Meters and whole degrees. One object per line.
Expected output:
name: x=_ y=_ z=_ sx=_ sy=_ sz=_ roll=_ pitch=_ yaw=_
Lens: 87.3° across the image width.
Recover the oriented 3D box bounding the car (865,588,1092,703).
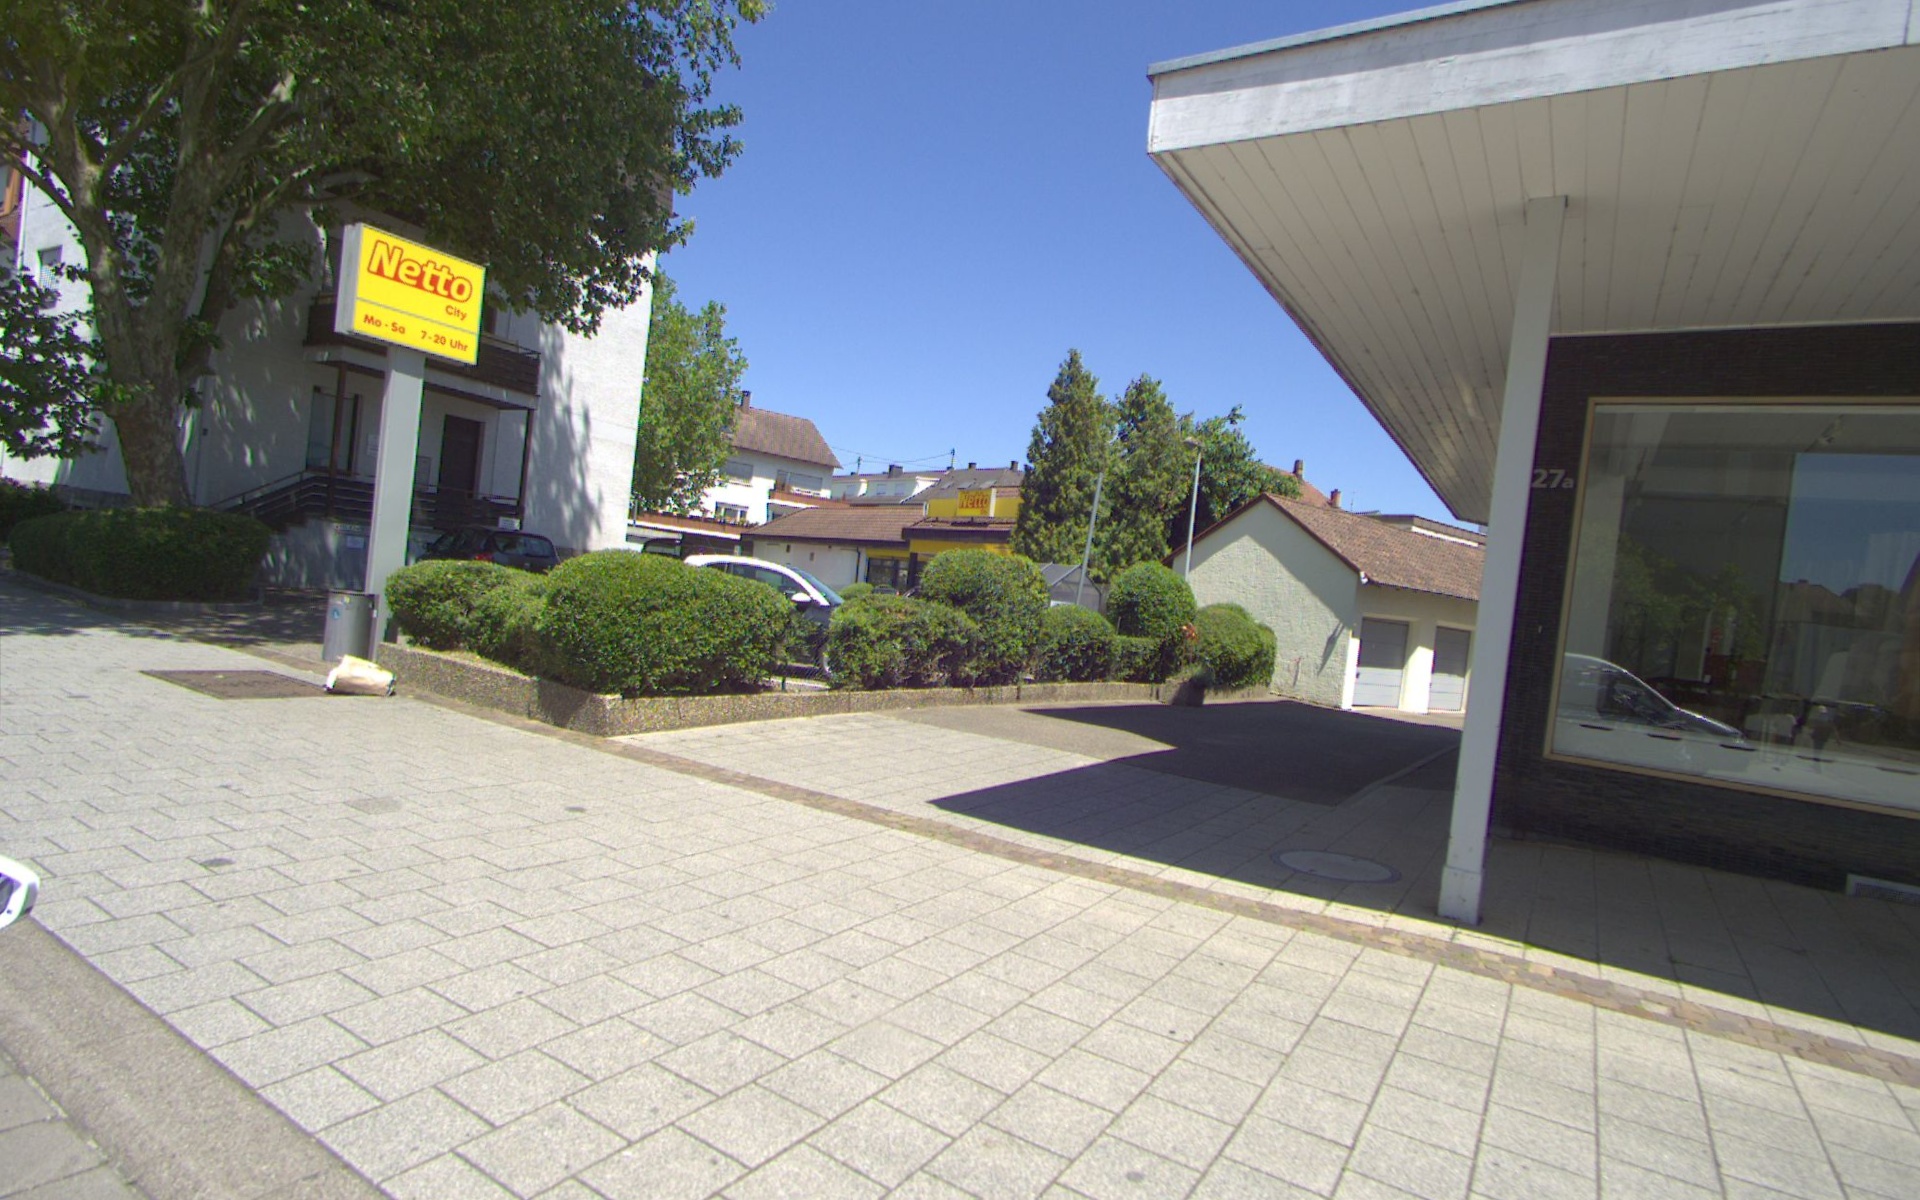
car: x=0.373 y=0.773 z=17.682 sx=3.561 sy=1.518 sz=1.739 roll=6 pitch=-1 yaw=14

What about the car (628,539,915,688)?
car: x=-2.429 y=0.173 z=13.592 sx=3.398 sy=1.518 sz=1.737 roll=6 pitch=1 yaw=1

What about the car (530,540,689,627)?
car: x=-8.032 y=-0.391 z=22.933 sx=3.706 sy=1.556 sz=1.832 roll=7 pitch=1 yaw=43

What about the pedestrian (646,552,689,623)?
pedestrian: x=-6.451 y=-0.278 z=22.210 sx=0.508 sy=1.487 sz=0.602 roll=7 pitch=2 yaw=43

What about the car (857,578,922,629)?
car: x=-2.833 y=0.173 z=41.186 sx=1.556 sy=1.800 sz=3.635 roll=7 pitch=0 yaw=12

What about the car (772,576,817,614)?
car: x=-7.614 y=-0.239 z=46.651 sx=1.610 sy=1.527 sz=3.721 roll=6 pitch=0 yaw=-5

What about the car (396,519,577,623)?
car: x=-9.008 y=-0.595 z=18.974 sx=4.044 sy=1.562 sz=1.680 roll=7 pitch=1 yaw=44
